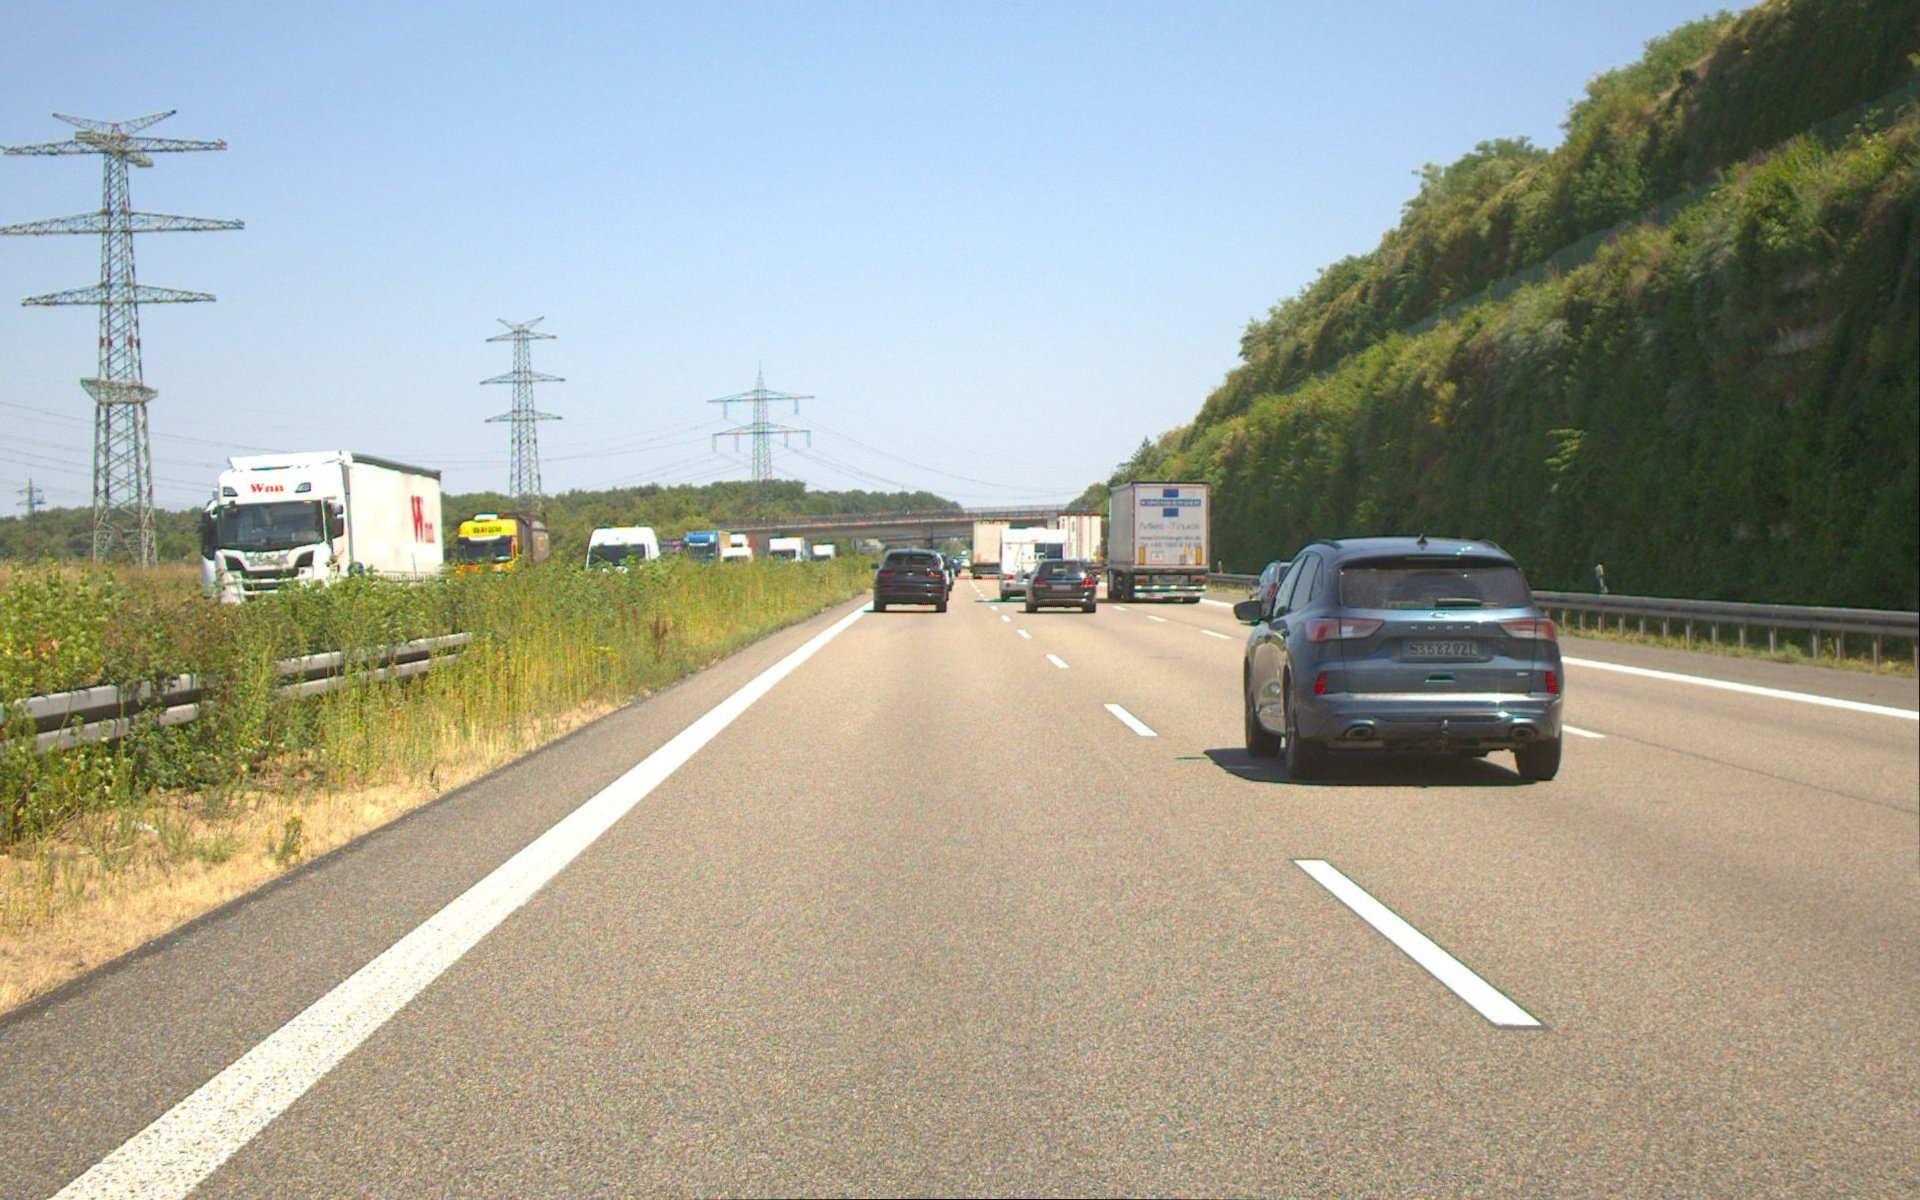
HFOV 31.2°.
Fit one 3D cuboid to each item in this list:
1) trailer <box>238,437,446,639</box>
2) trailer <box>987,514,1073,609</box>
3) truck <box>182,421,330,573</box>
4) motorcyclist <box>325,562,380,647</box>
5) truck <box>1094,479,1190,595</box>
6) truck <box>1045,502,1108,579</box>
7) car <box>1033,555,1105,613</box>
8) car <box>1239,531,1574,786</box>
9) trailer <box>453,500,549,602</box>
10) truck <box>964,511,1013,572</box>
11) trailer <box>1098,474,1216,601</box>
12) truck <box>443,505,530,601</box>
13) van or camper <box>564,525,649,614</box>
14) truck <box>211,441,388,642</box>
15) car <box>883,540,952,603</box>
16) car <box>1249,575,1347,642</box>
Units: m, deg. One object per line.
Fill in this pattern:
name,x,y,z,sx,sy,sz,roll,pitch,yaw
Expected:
trailer,-14.327,-1.432,80.912,2.769,4.335,14.241,0,1,-2
trailer,2.416,-1.377,121.638,2.610,3.202,9.953,-1,1,-1
truck,-18.333,-2.654,89.833,2.776,3.840,5.570,0,1,-1
motorcyclist,-9.795,0.071,55.447,0.707,1.342,1.014,-1,1,-2
truck,6.663,-2.295,126.670,3.136,4.127,5.504,-1,1,0
truck,6.645,-3.384,197.163,3.119,4.265,11.934,-1,1,0
car,2.982,-0.456,94.440,1.830,1.520,4.000,-1,1,0
car,3.057,0.351,24.324,1.794,1.647,4.138,0,1,0
trailer,-19.045,-2.051,143.073,2.736,4.032,9.424,-1,1,-1
truck,2.016,-4.211,248.302,3.409,4.265,10.607,-1,1,0
trailer,6.735,-2.147,119.682,3.183,4.107,13.432,-1,1,0
truck,-19.040,-1.894,138.614,2.725,3.715,5.646,-1,1,-1
van or camper,-10.573,-0.930,103.270,1.993,2.573,6.286,-1,1,-1
truck,-14.179,-1.250,74.132,2.805,4.144,5.570,0,1,-1
car,-1.169,-0.802,94.704,1.830,1.665,4.000,-1,1,-1
car,7.574,0.177,77.365,1.684,1.423,4.454,0,1,-1
